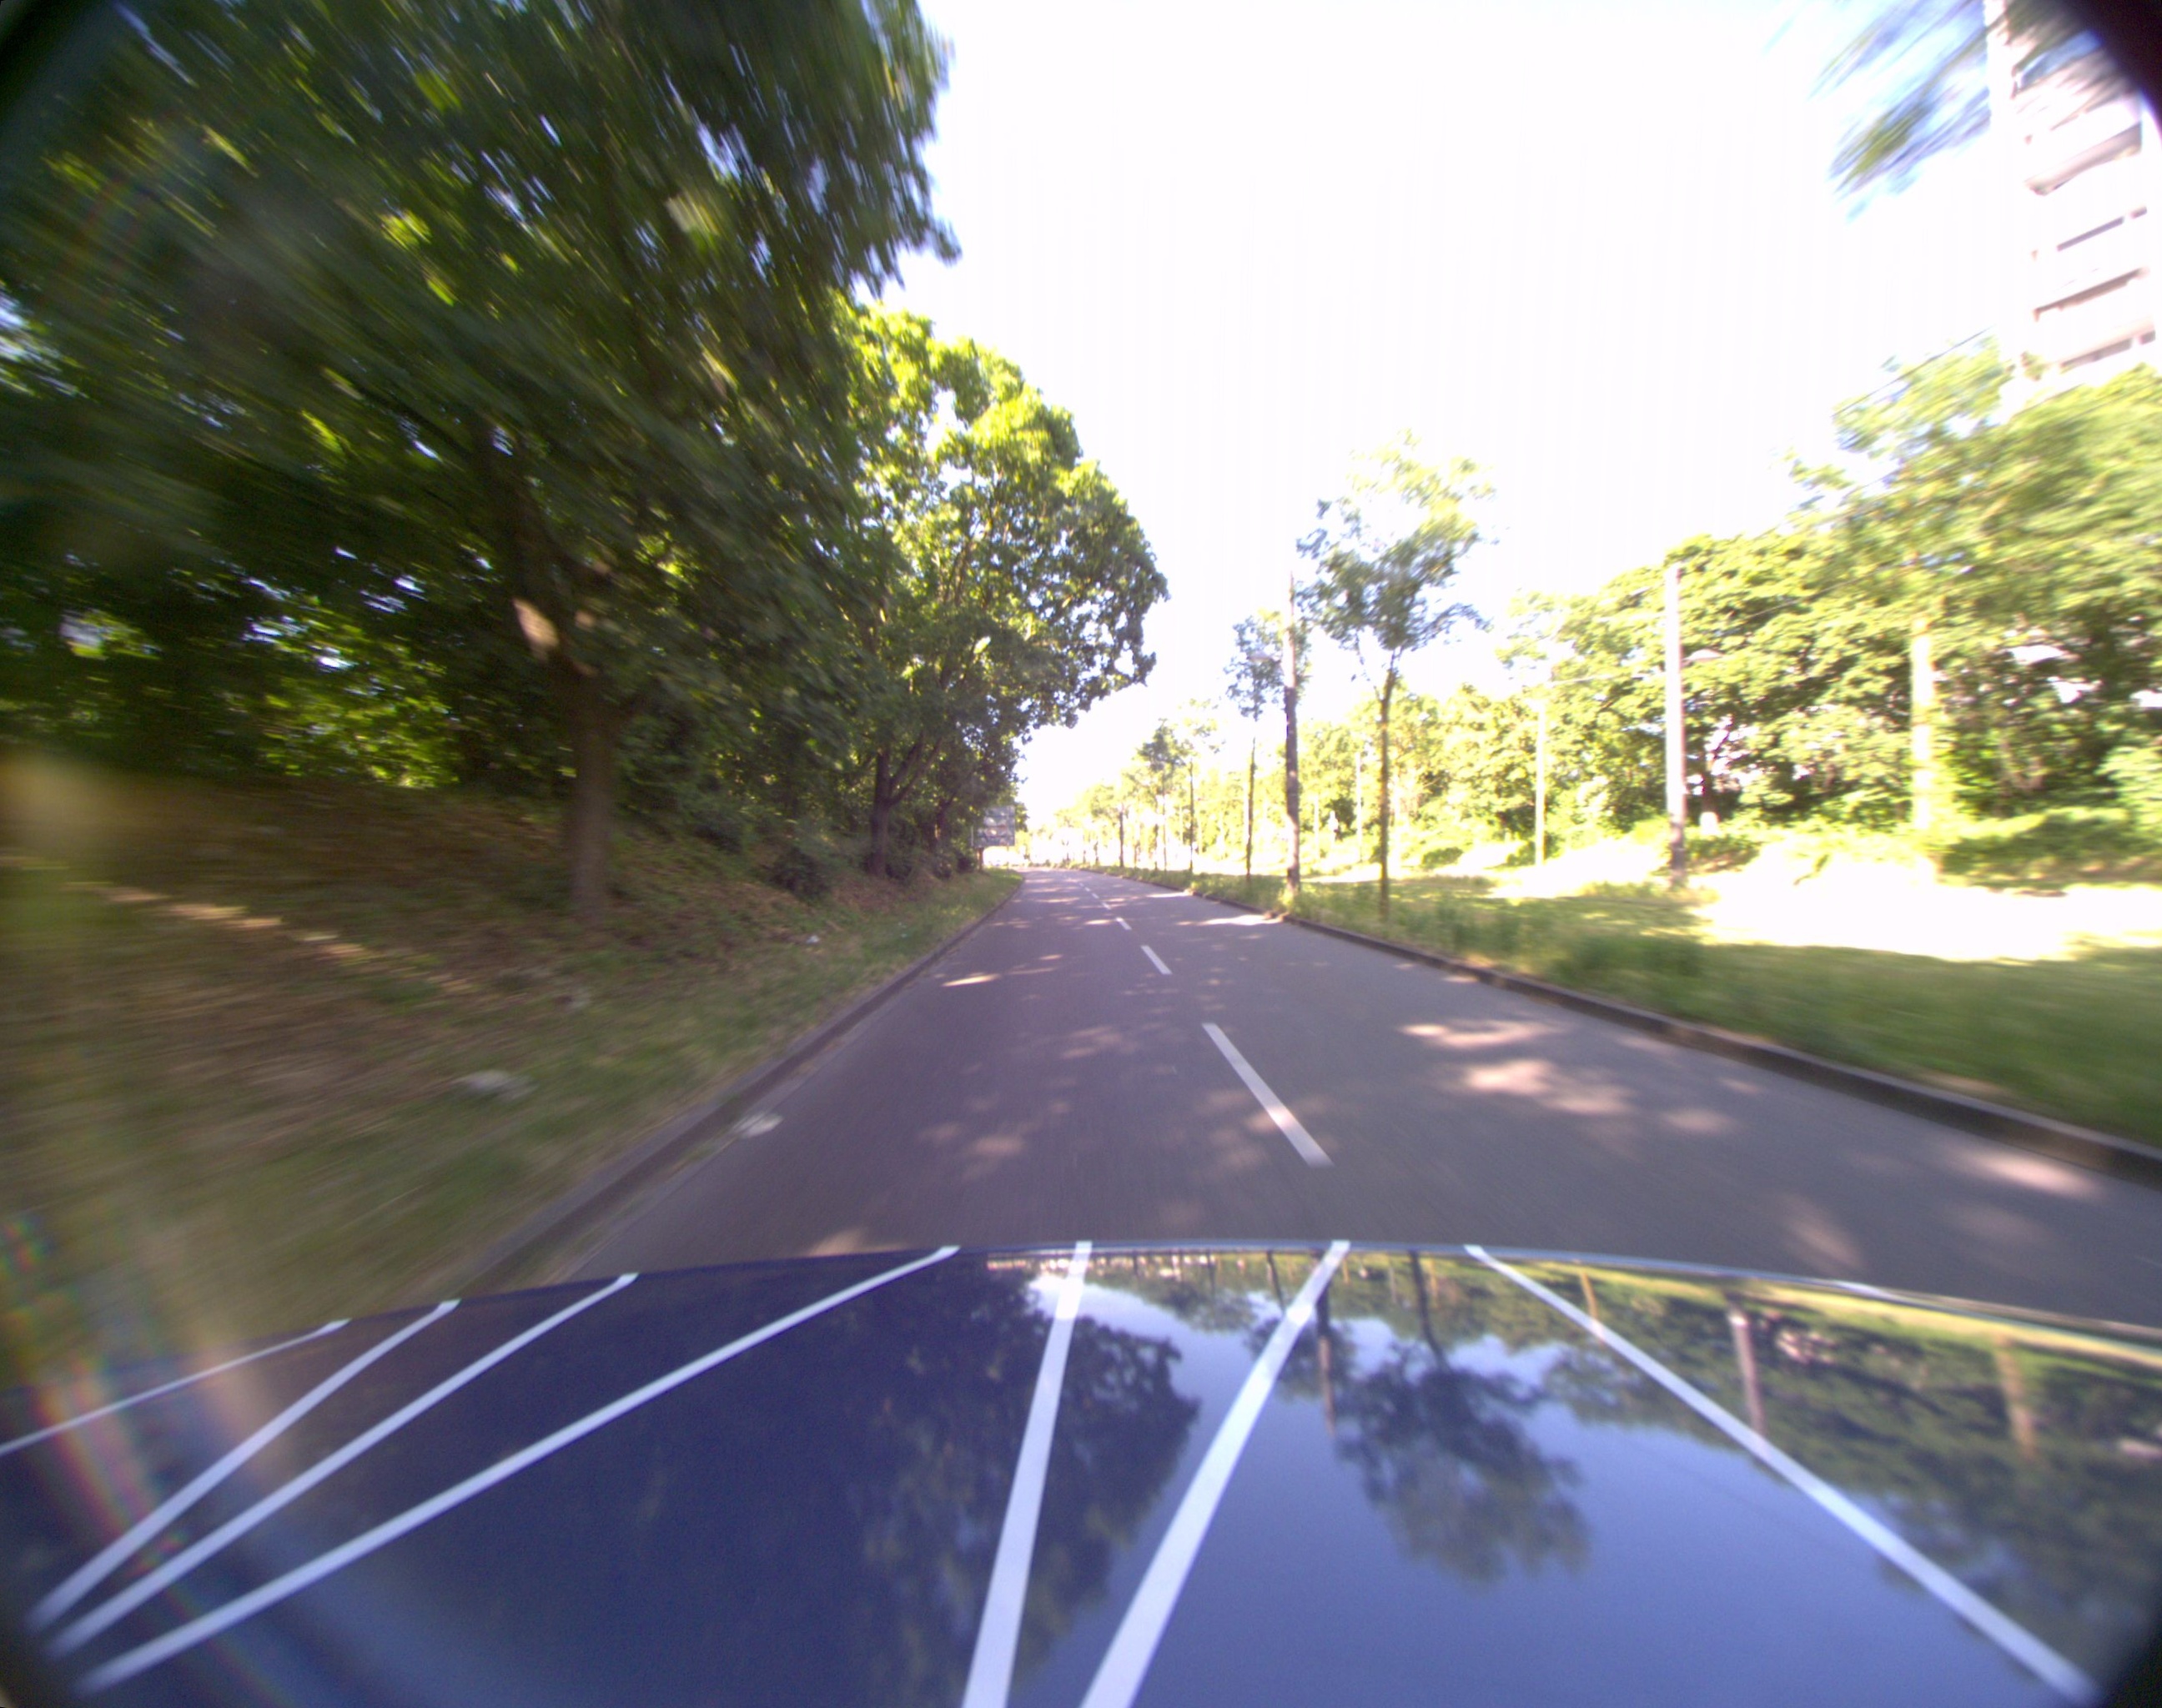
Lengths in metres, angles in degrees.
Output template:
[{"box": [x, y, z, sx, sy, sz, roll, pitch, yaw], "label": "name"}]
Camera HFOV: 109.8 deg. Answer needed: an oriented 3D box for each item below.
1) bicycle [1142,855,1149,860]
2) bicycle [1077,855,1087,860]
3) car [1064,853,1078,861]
[{"box": [15.919, 0.764, 186.671, 0.720, 1.205, 2.548, -1, 0, -20], "label": "bicycle"}, {"box": [0.156, 1.059, 203.455, 2.583, 1.301, 0.661, -1, 0, -21], "label": "bicycle"}, {"box": [-2.401, 0.665, 178.796, 1.827, 1.630, 4.484, -1, -3, -19], "label": "car"}]
